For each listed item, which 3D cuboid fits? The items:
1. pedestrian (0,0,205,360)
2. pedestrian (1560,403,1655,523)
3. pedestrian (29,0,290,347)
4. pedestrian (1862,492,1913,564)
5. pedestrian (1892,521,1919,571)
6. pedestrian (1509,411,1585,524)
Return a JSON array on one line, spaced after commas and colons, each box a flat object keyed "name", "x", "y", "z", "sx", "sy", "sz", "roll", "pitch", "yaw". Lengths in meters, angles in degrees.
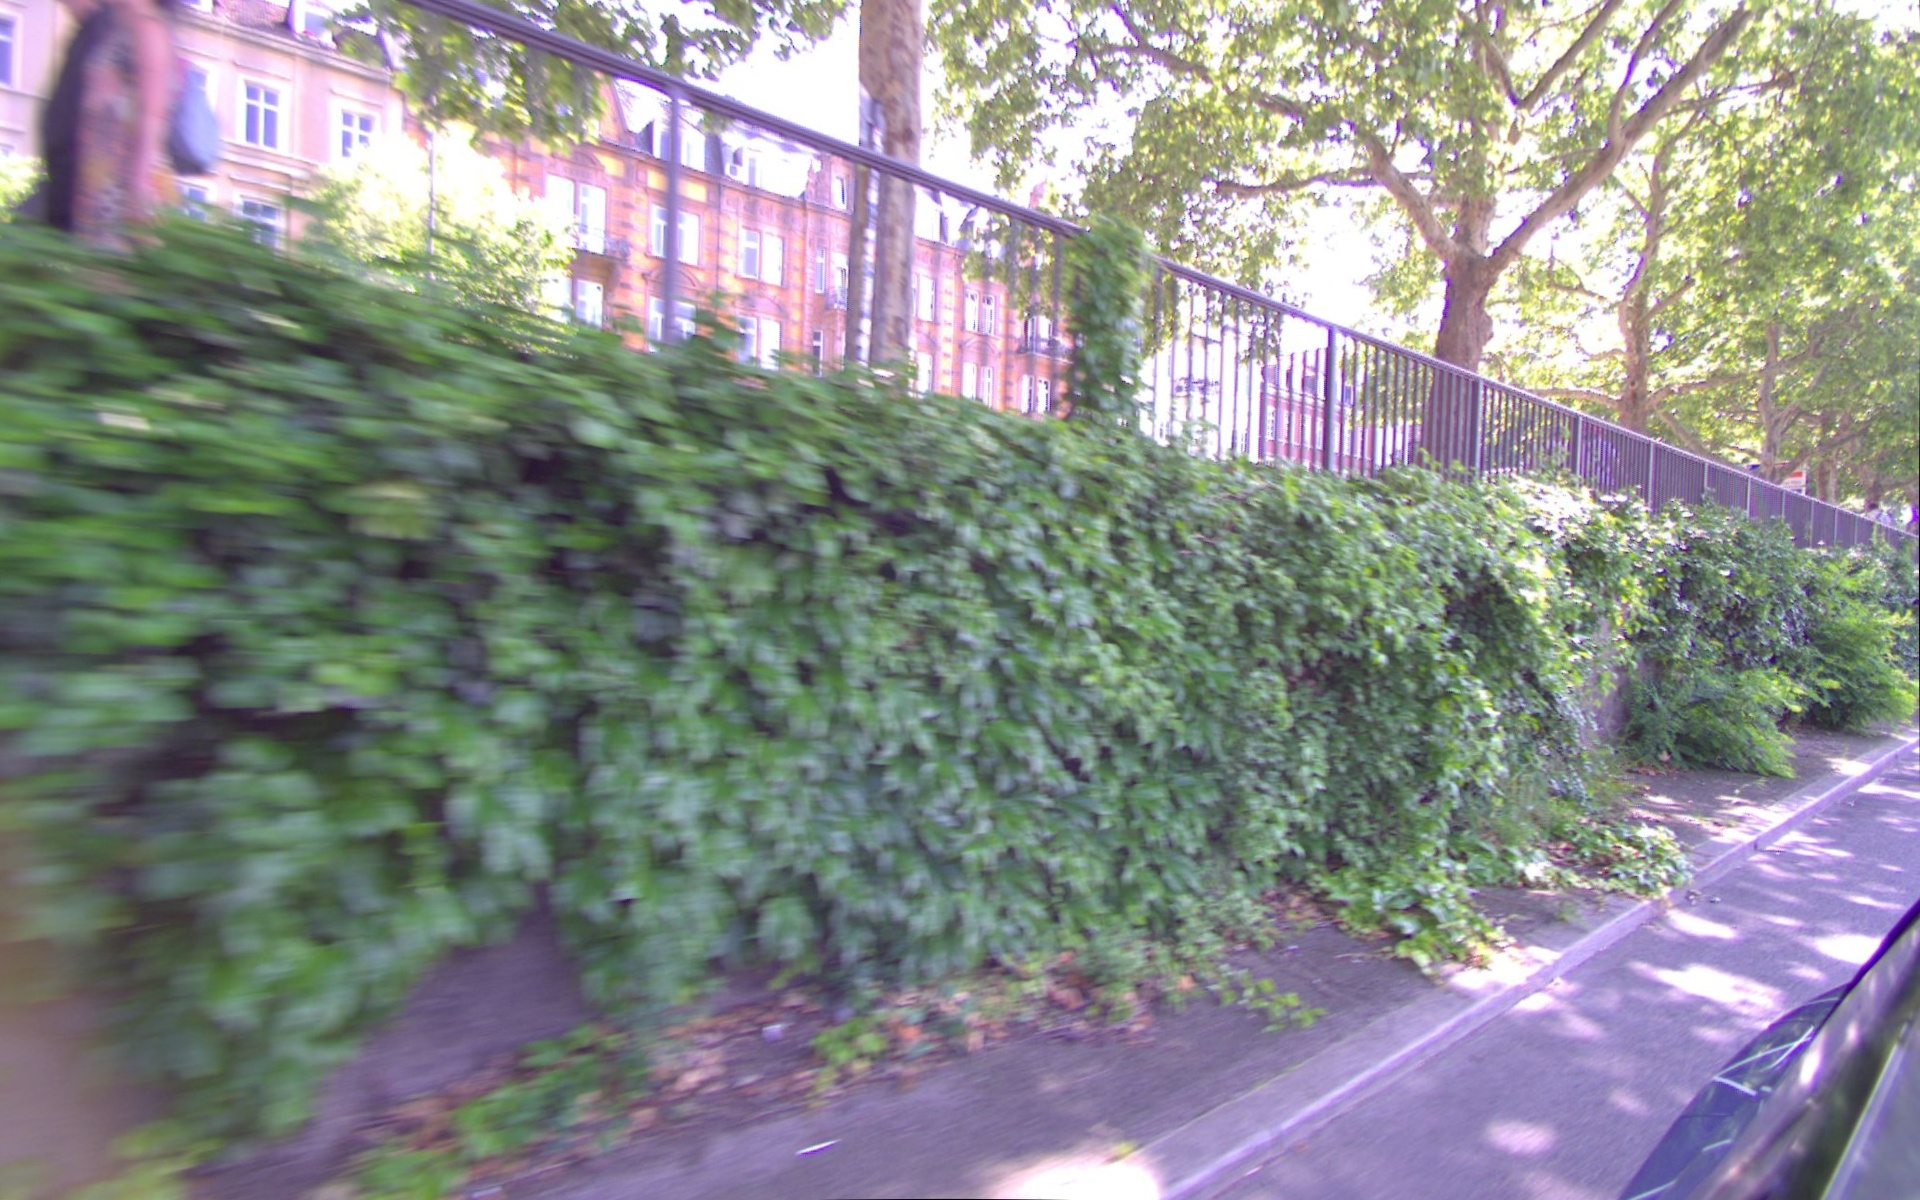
[{"name": "pedestrian", "x": -3.193, "y": -1.795, "z": 3.663, "sx": 0.646, "sy": 1.660, "sz": 0.617, "roll": 2, "pitch": 1, "yaw": 42}, {"name": "pedestrian", "x": 7.441, "y": -1.542, "z": 11.625, "sx": 0.729, "sy": 1.259, "sz": 0.712, "roll": 1, "pitch": 1, "yaw": -41}, {"name": "pedestrian", "x": -2.664, "y": -1.656, "z": 3.375, "sx": 0.584, "sy": 1.437, "sz": 0.580, "roll": 2, "pitch": 1, "yaw": 42}, {"name": "pedestrian", "x": 21.679, "y": -1.674, "z": 23.651, "sx": 0.796, "sy": 1.611, "sz": 0.738, "roll": 1, "pitch": 1, "yaw": -41}, {"name": "pedestrian", "x": 31.106, "y": -1.756, "z": 33.187, "sx": 0.639, "sy": 1.611, "sz": 0.666, "roll": 1, "pitch": 1, "yaw": -41}, {"name": "pedestrian", "x": 7.067, "y": -1.571, "z": 12.187, "sx": 0.679, "sy": 1.259, "sz": 0.577, "roll": 1, "pitch": 1, "yaw": -41}]
